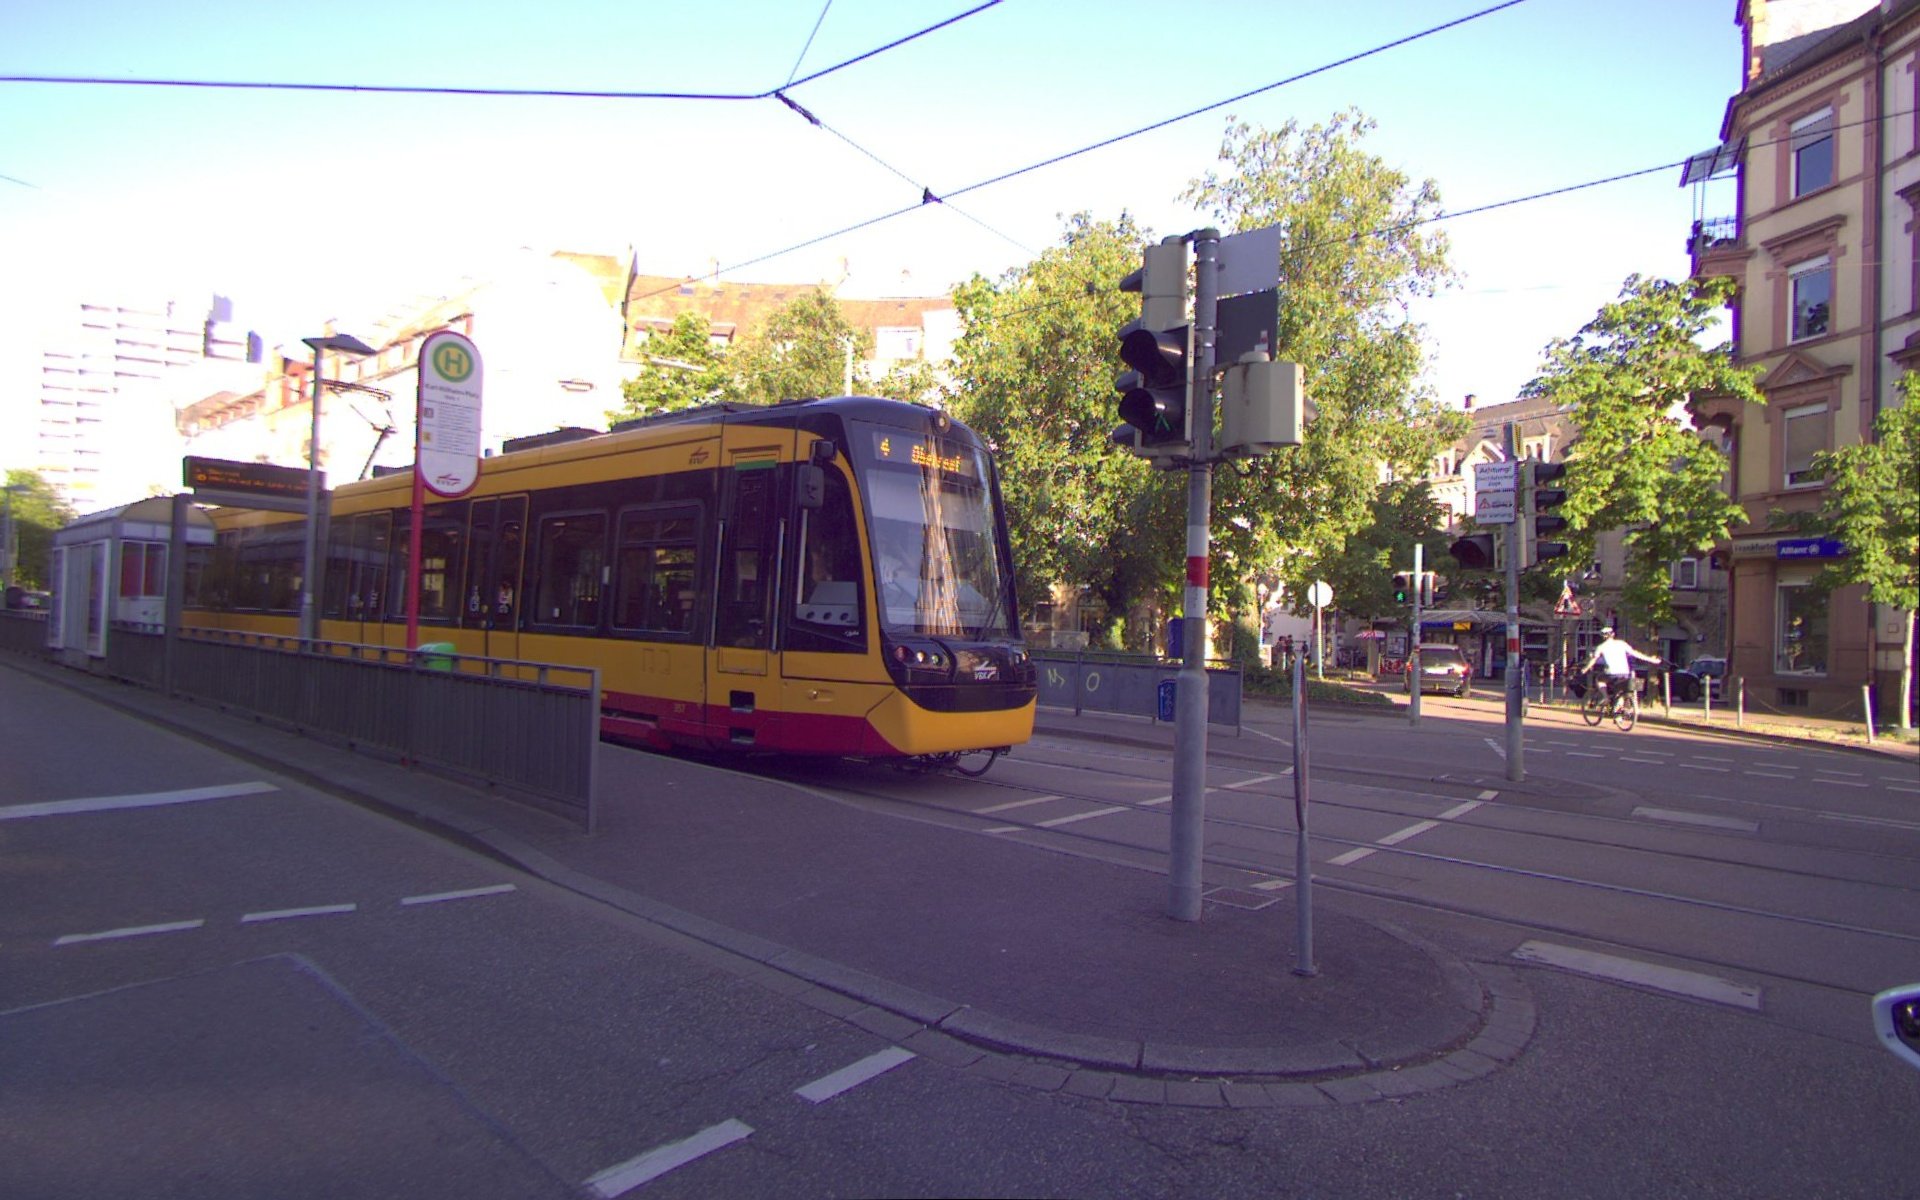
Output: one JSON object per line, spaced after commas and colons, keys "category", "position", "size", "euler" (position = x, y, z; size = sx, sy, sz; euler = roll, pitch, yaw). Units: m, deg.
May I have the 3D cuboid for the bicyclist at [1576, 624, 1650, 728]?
{"category": "bicyclist", "position": [12.623, 1.453, 19.446], "size": [0.782, 1.938, 0.944], "euler": [2, -2, -6]}

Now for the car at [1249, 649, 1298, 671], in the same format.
{"category": "car", "position": [23.990, 4.604, 76.950], "size": [1.648, 1.518, 3.553], "euler": [4, -3, -23]}

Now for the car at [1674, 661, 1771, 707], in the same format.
{"category": "car", "position": [26.250, 2.879, 34.564], "size": [3.168, 1.477, 1.495], "euler": [3, -2, -28]}

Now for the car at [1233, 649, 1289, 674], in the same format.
{"category": "car", "position": [20.393, 4.185, 68.215], "size": [1.650, 1.518, 3.550], "euler": [4, -3, -26]}

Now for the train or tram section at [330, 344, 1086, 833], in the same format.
{"category": "train or tram section", "position": [-4.115, -0.007, 12.400], "size": [11.626, 3.667, 2.787], "euler": [0, -3, 41]}

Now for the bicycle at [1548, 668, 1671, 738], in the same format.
{"category": "bicycle", "position": [12.597, 1.970, 19.580], "size": [0.797, 1.200, 2.225], "euler": [2, -3, -6]}

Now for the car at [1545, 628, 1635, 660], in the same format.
{"category": "car", "position": [35.404, 2.472, 56.554], "size": [1.854, 1.669, 3.975], "euler": [3, -2, -26]}

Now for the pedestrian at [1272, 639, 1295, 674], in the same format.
{"category": "pedestrian", "position": [16.498, 2.881, 51.233], "size": [0.708, 1.773, 0.877], "euler": [3, -2, -28]}

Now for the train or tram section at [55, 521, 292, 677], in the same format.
{"category": "train or tram section", "position": [-22.514, 0.078, 28.304], "size": [12.493, 3.604, 2.761], "euler": [0, -3, 41]}

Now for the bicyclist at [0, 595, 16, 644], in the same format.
{"category": "bicyclist", "position": [-31.767, 0.655, 33.275], "size": [0.548, 1.594, 0.595], "euler": [-1, -3, 42]}

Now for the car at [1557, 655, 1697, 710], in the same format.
{"category": "car", "position": [21.492, 2.669, 32.340], "size": [4.310, 1.632, 1.786], "euler": [3, -3, -25]}

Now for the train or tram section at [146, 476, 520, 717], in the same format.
{"category": "train or tram section", "position": [-13.150, 0.030, 20.205], "size": [12.236, 3.634, 2.773], "euler": [0, -3, 41]}

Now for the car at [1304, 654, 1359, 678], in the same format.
{"category": "car", "position": [26.671, 4.736, 72.189], "size": [1.650, 1.518, 3.550], "euler": [4, -3, -26]}

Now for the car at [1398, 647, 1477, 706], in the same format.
{"category": "car", "position": [14.375, 2.258, 30.429], "size": [1.760, 1.562, 3.860], "euler": [2, -2, 20]}
